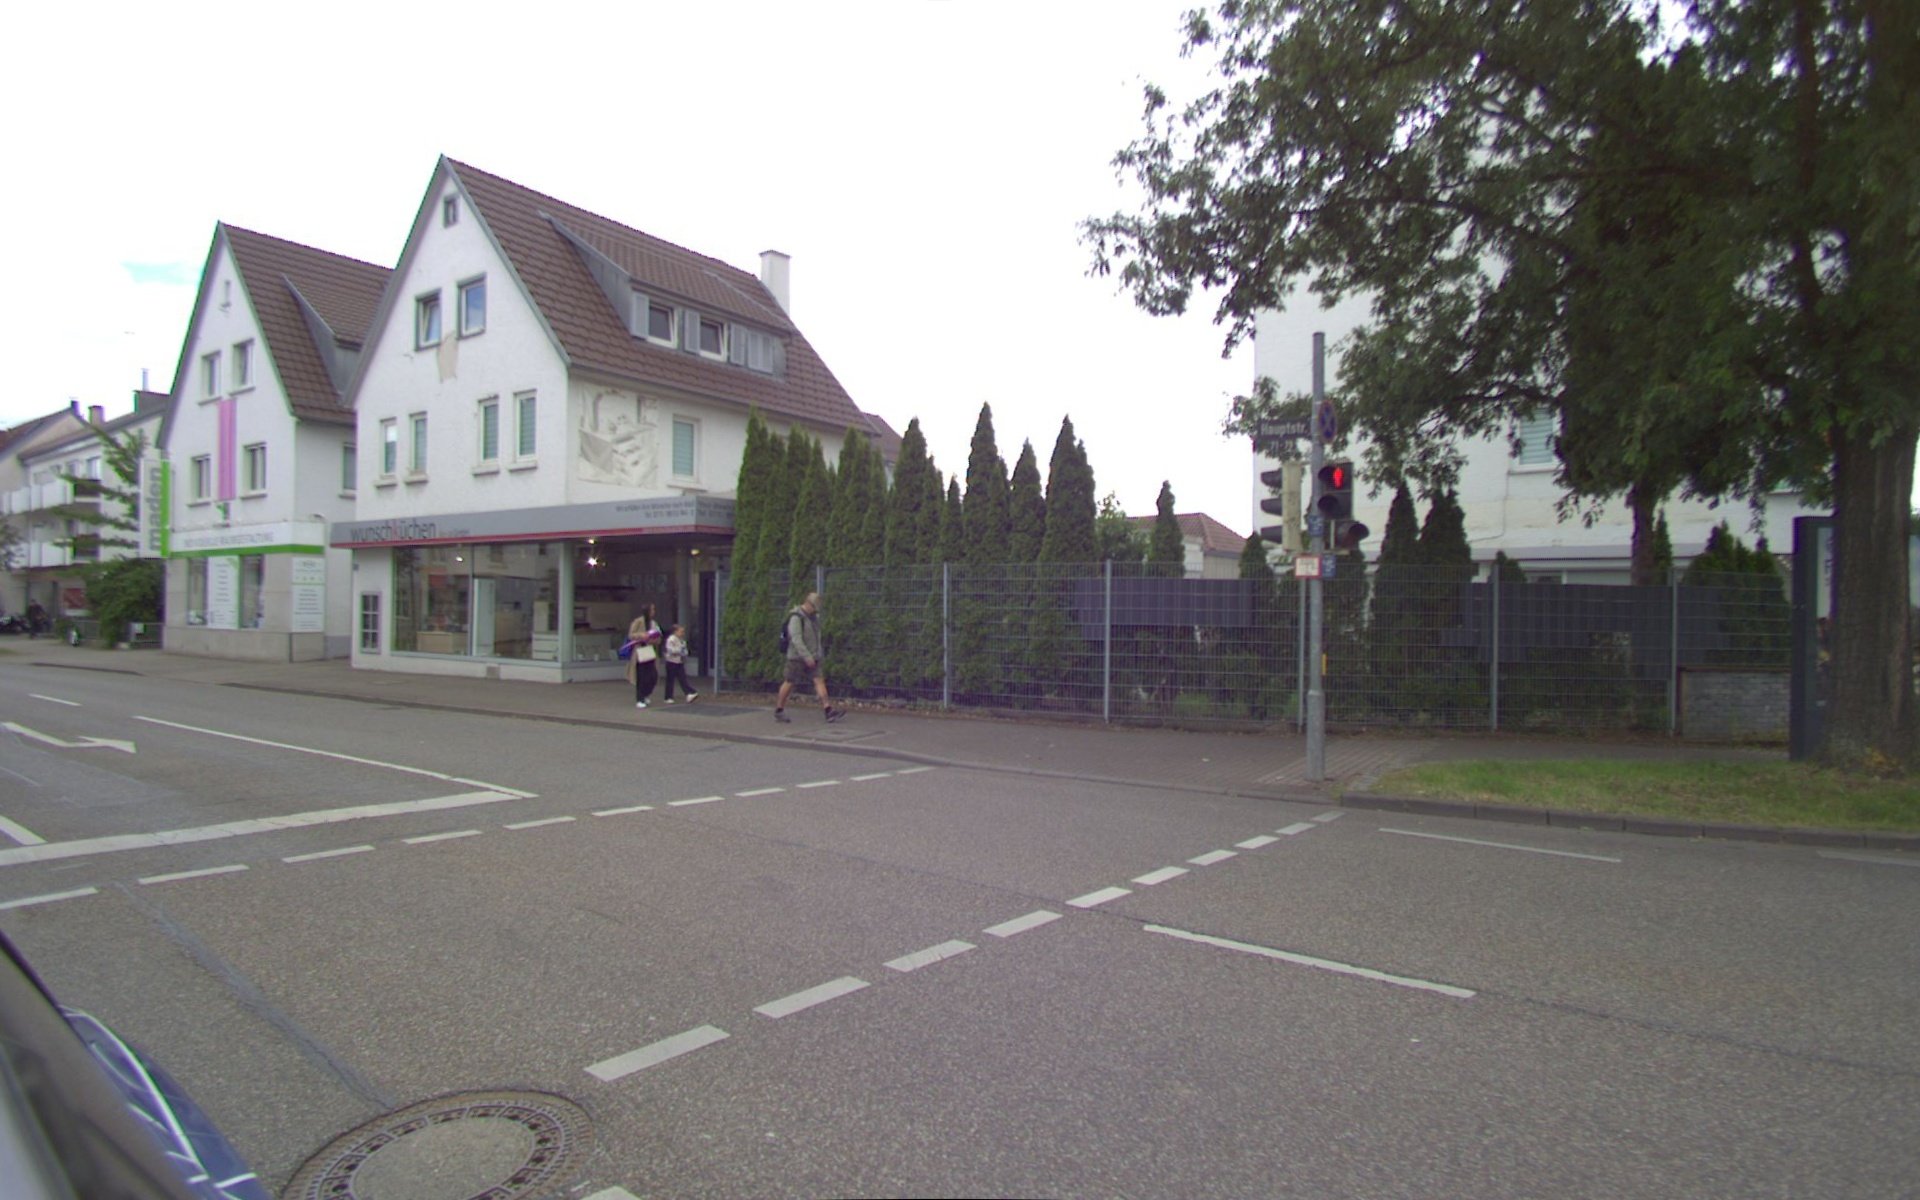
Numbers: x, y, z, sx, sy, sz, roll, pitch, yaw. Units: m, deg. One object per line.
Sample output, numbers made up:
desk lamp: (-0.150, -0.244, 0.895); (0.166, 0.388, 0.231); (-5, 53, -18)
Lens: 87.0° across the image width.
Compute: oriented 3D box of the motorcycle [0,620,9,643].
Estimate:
motorcycle: (-47.837, 1.559, 49.770); (0.589, 1.113, 1.496); (0, 2, 42)

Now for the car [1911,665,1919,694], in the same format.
car: (50.640, 4.120, 52.296); (1.792, 1.472, 4.358); (-2, -4, 39)

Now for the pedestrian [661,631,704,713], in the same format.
pedestrian: (-4.445, 1.143, 16.225); (0.547, 1.271, 0.379); (0, 0, 26)

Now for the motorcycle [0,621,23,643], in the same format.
motorcycle: (-46.949, 1.572, 49.631); (0.524, 1.030, 1.413); (0, 1, 36)

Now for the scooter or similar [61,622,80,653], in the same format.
scooter or similar: (-33.573, 1.387, 38.193); (0.458, 1.132, 1.831); (0, -1, -39)

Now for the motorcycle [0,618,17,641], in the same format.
motorcycle: (-48.910, 1.522, 51.212); (0.557, 1.114, 1.659); (0, 1, 36)

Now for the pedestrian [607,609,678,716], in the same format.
pedestrian: (-5.001, 0.960, 15.930); (0.862, 1.617, 0.636); (0, 0, 26)

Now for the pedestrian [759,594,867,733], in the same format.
pedestrian: (-1.987, 0.810, 13.643); (1.227, 1.767, 0.814); (0, 0, 37)
